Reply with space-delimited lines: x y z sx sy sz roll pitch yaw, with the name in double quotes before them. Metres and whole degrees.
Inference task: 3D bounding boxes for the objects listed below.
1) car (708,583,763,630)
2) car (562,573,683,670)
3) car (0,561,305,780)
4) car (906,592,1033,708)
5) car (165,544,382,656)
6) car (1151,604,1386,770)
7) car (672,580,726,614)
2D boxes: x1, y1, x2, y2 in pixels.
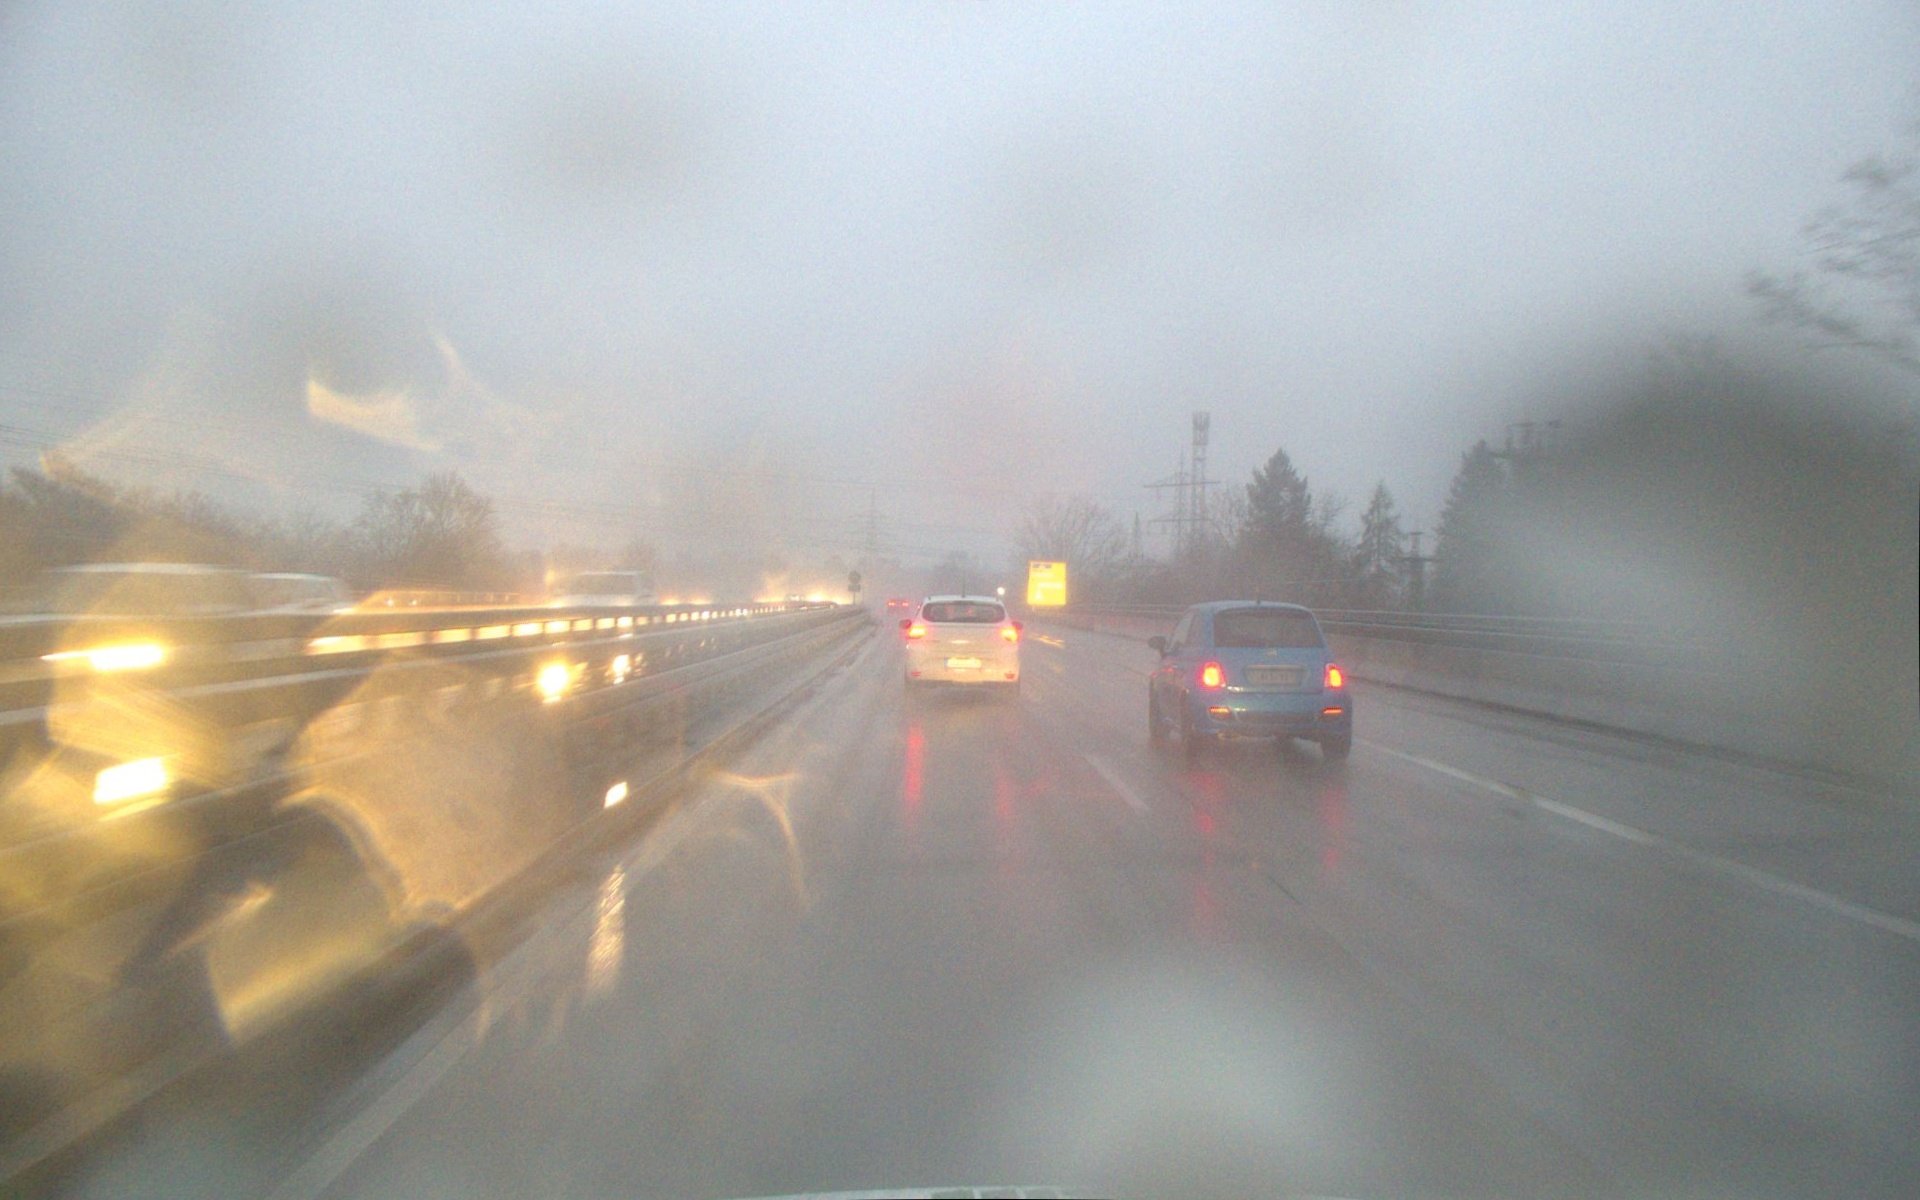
"car" -8.565 0.238 63.239 1.652 1.713 3.506 0 0 -1
"car" -7.807 0.445 38.656 1.924 2.088 4.373 1 0 -1
"car" -7.285 0.456 13.777 1.924 1.528 4.373 1 1 -1
"car" 0.079 0.720 25.801 1.808 1.664 3.766 1 0 -2
"car" -10.581 -0.034 25.804 1.818 1.593 3.921 1 1 -2
"car" 3.181 0.838 17.851 1.807 1.479 4.149 1 1 1
"car" -12.551 -0.160 79.722 1.928 1.550 4.199 1 0 0
